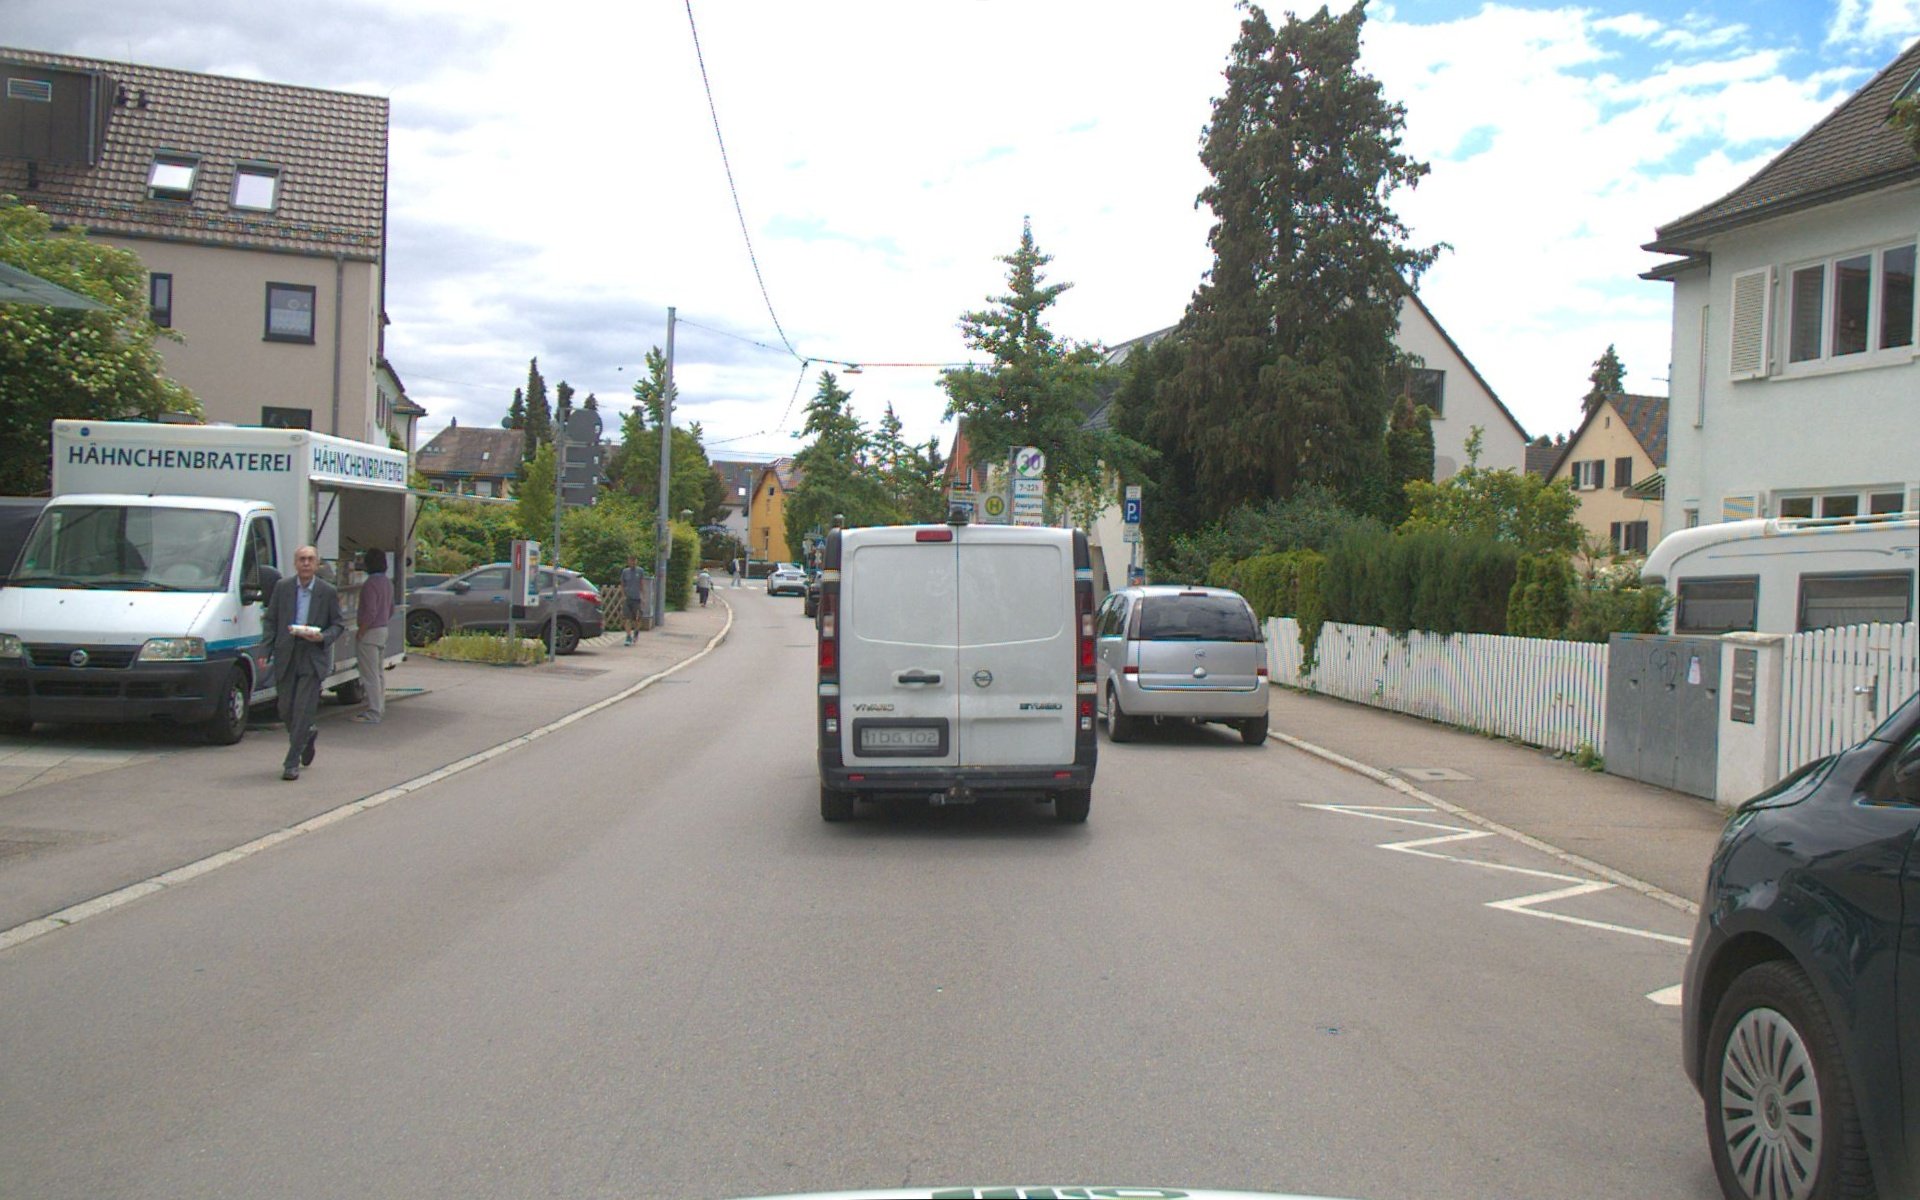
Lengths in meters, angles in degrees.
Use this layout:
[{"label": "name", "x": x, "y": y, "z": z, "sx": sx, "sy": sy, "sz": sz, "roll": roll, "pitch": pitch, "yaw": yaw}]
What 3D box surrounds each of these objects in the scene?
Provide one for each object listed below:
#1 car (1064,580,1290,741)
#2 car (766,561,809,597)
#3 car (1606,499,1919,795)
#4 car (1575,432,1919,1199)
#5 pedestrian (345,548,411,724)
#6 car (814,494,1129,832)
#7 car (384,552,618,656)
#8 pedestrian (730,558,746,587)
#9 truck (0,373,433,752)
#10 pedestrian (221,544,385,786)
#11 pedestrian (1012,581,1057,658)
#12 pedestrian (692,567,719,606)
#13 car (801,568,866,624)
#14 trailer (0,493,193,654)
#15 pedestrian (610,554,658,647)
[{"label": "car", "x": 2.312, "y": 0.600, "z": 18.630, "sx": 1.725, "sy": 1.610, "sz": 4.015, "roll": 0, "pitch": 0, "yaw": -5}, {"label": "car", "x": -8.885, "y": -1.085, "z": 85.164, "sx": 1.957, "sy": 1.813, "sz": 3.991, "roll": 1, "pitch": 1, "yaw": -9}, {"label": "car", "x": 9.594, "y": 0.469, "z": 17.614, "sx": 2.454, "sy": 2.728, "sz": 5.170, "roll": 4, "pitch": 0, "yaw": -13}, {"label": "car", "x": 2.901, "y": 0.637, "z": 2.504, "sx": 1.870, "sy": 1.880, "sz": 5.156, "roll": 2, "pitch": 0, "yaw": -1}, {"label": "pedestrian", "x": -5.853, "y": 0.353, "z": 16.663, "sx": 0.393, "sy": 1.724, "sz": 0.596, "roll": 4, "pitch": 0, "yaw": -7}, {"label": "car", "x": -0.111, "y": 0.385, "z": 12.349, "sx": 1.878, "sy": 2.037, "sz": 4.432, "roll": 1, "pitch": 0, "yaw": -5}, {"label": "car", "x": -9.008, "y": 0.077, "z": 32.630, "sx": 4.242, "sy": 1.725, "sz": 1.790, "roll": 4, "pitch": 0, "yaw": -16}, {"label": "pedestrian", "x": -13.065, "y": -1.632, "z": 97.206, "sx": 0.791, "sy": 1.637, "sz": 0.625, "roll": 4, "pitch": 0, "yaw": -14}, {"label": "truck", "x": -7.181, "y": -0.326, "z": 16.228, "sx": 2.425, "sy": 2.890, "sz": 6.699, "roll": 2, "pitch": 0, "yaw": -6}, {"label": "pedestrian", "x": -4.969, "y": 0.473, "z": 12.585, "sx": 0.708, "sy": 1.716, "sz": 1.109, "roll": 4, "pitch": 0, "yaw": -1}, {"label": "pedestrian", "x": 1.706, "y": 0.432, "z": 37.813, "sx": 0.837, "sy": 1.674, "sz": 0.883, "roll": 4, "pitch": 0, "yaw": -4}, {"label": "pedestrian", "x": -10.192, "y": -0.552, "z": 66.211, "sx": 0.866, "sy": 1.511, "sz": 0.451, "roll": 4, "pitch": 0, "yaw": -30}, {"label": "car", "x": -4.541, "y": -0.170, "z": 59.115, "sx": 1.957, "sy": 1.880, "sz": 3.991, "roll": 1, "pitch": 1, "yaw": -9}, {"label": "trailer", "x": -14.087, "y": -0.491, "z": 24.215, "sx": 4.771, "sy": 2.115, "sz": 1.701, "roll": 4, "pitch": 2, "yaw": -8}, {"label": "pedestrian", "x": -7.195, "y": 0.003, "z": 36.572, "sx": 0.718, "sy": 1.979, "sz": 1.217, "roll": 4, "pitch": 0, "yaw": -1}]
